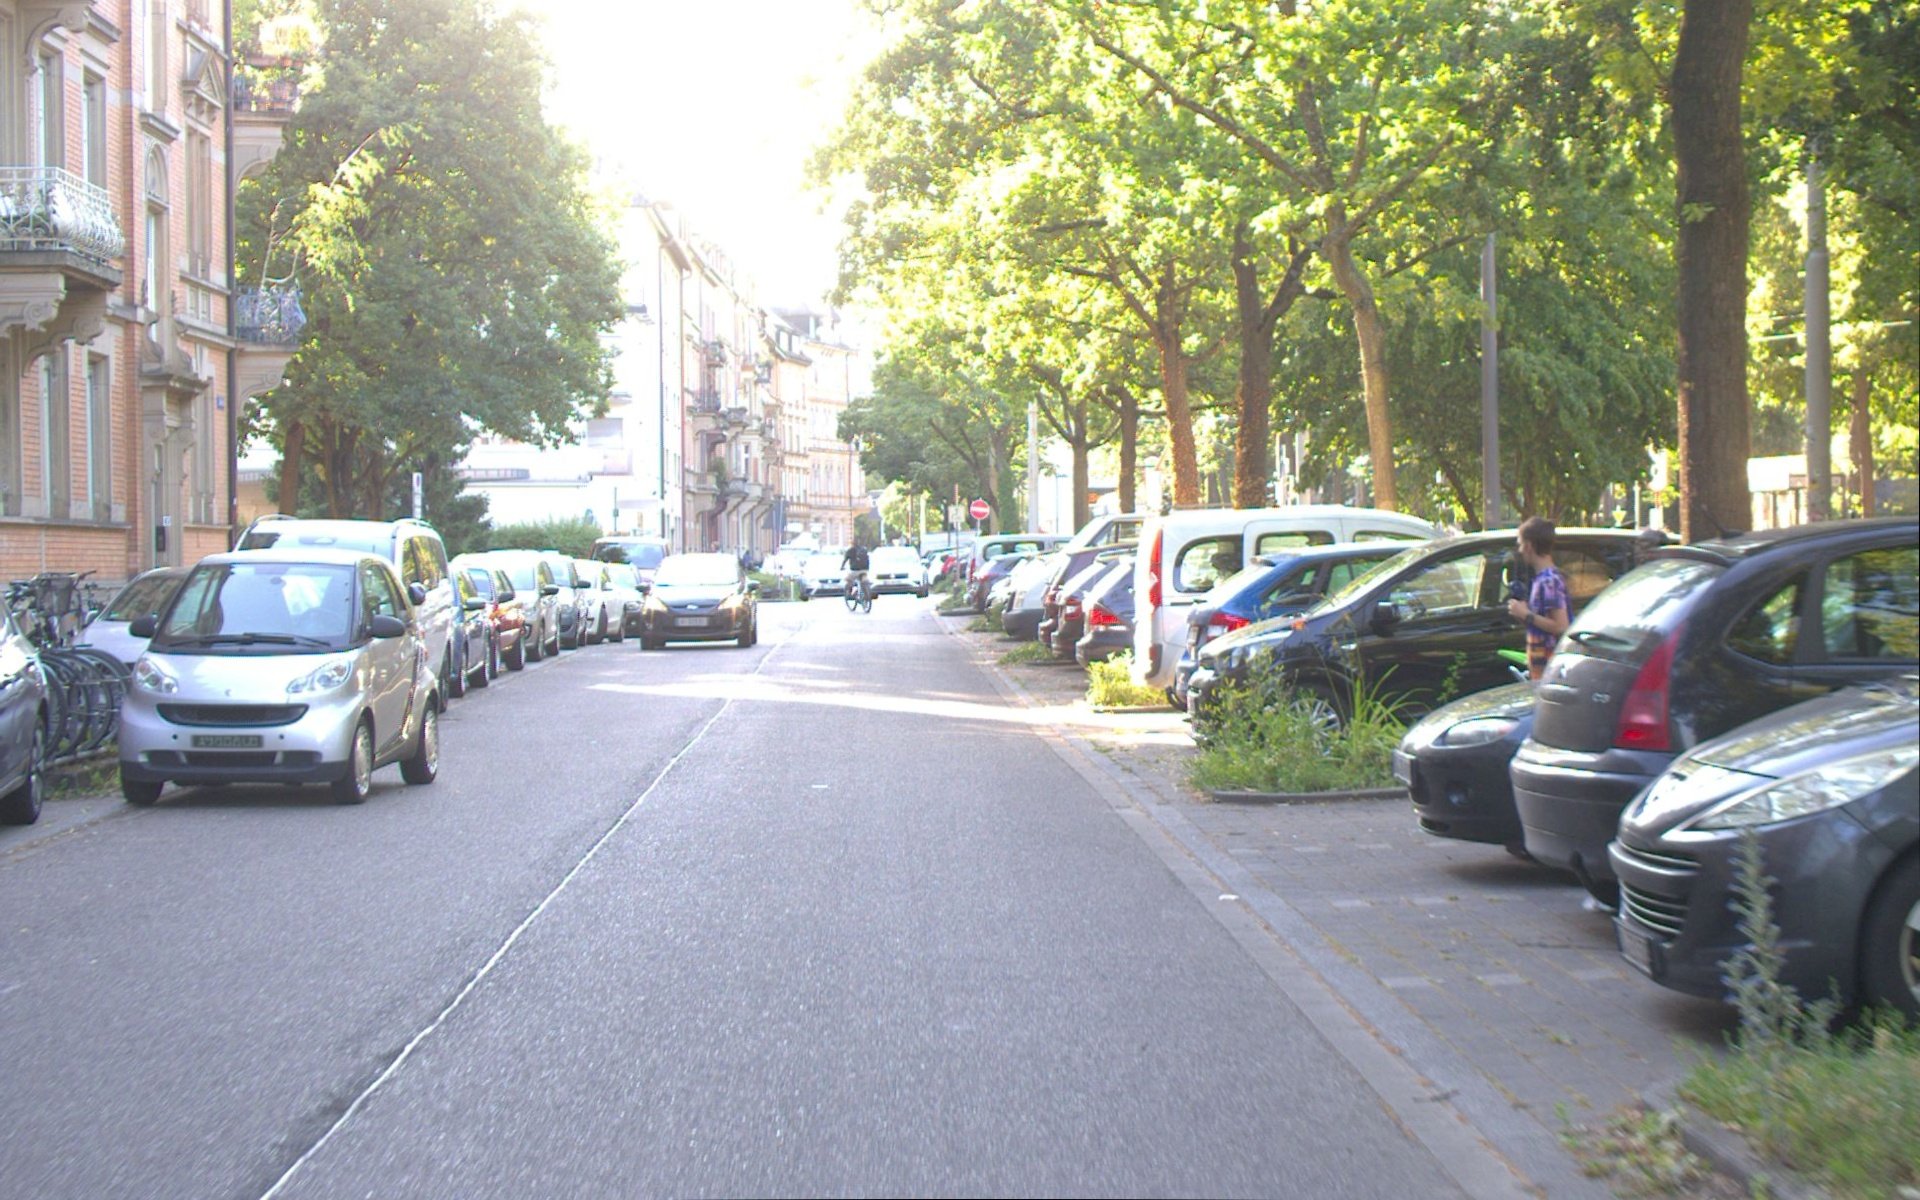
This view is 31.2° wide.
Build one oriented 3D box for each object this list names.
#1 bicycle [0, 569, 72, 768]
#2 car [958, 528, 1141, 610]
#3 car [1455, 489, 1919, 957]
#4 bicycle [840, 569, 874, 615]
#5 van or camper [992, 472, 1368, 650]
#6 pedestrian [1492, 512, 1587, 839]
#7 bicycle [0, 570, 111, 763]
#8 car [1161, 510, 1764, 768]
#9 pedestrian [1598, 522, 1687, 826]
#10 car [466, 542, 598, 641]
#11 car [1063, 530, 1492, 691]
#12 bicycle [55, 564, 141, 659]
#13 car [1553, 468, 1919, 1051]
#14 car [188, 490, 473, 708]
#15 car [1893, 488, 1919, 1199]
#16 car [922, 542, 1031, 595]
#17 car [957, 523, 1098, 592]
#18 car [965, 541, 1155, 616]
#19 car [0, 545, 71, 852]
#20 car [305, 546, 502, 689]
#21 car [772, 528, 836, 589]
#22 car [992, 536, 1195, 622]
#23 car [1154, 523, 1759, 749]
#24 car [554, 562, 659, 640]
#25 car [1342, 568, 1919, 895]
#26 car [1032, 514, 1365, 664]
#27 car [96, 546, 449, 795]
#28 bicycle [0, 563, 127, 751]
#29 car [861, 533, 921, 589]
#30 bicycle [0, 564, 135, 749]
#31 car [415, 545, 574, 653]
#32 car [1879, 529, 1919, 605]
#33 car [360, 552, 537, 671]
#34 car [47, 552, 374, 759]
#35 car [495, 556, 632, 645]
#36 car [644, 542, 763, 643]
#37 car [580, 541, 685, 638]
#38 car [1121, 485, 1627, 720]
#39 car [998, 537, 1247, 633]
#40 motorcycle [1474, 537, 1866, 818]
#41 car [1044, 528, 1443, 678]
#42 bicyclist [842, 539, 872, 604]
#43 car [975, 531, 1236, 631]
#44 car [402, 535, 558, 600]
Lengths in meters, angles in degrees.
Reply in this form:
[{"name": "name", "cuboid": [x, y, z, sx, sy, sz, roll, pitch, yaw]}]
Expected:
[{"name": "bicycle", "cuboid": [-6.497, 0.411, 20.935, 2.087, 1.211, 0.442, 1, -1, -16]}, {"name": "car", "cuboid": [2.017, -0.686, 78.013, 3.986, 1.788, 1.859, 0, -1, -4]}, {"name": "car", "cuboid": [4.271, 0.379, 12.986, 4.398, 1.585, 1.838, -2, 0, -6]}, {"name": "bicycle", "cuboid": [-2.521, -0.188, 83.700, 0.641, 1.096, 1.944, 1, -1, -7]}, {"name": "van or camper", "cuboid": [2.997, -0.513, 47.740, 4.981, 2.369, 2.185, 0, -1, -3]}, {"name": "pedestrian", "cuboid": [2.867, 0.362, 17.001, 0.380, 1.579, 0.518, 0, 3, 18]}, {"name": "bicycle", "cuboid": [-6.336, 0.420, 21.854, 1.763, 1.211, 0.441, 0, -1, -1]}, {"name": "car", "cuboid": [3.244, 0.235, 22.739, 3.674, 1.496, 1.762, -2, 1, 0]}, {"name": "pedestrian", "cuboid": [3.485, 0.367, 17.550, 0.380, 1.511, 0.518, 0, 3, 18]}, {"name": "car", "cuboid": [-6.835, -0.159, 55.197, 1.756, 1.510, 4.162, 0, 1, -2]}, {"name": "car", "cuboid": [3.214, 0.094, 35.213, 4.220, 1.448, 1.649, -2, 1, 3]}, {"name": "bicycle", "cuboid": [-10.645, 0.156, 42.512, 0.704, 1.143, 1.890, 0, -1, -4]}, {"name": "car", "cuboid": [4.171, 0.386, 10.383, 4.399, 1.585, 1.838, -2, 0, 0]}, {"name": "car", "cuboid": [-5.941, 0.025, 33.002, 1.993, 1.914, 5.040, 0, -1, -2]}, {"name": "car", "cuboid": [3.998, 0.533, 5.606, 4.399, 1.585, 1.838, -2, 0, -2]}, {"name": "car", "cuboid": [0.668, -1.242, 135.491, 3.989, 2.007, 1.999, 0, -1, 10]}, {"name": "car", "cuboid": [2.057, -1.274, 103.975, 3.989, 2.007, 1.999, 0, -1, 10]}, {"name": "car", "cuboid": [2.169, -0.460, 75.343, 3.986, 1.558, 1.859, 0, -1, -4]}, {"name": "car", "cuboid": [-5.753, 0.476, 17.722, 1.746, 1.541, 4.153, 1, 1, -7]}, {"name": "car", "cuboid": [-6.178, 0.155, 38.524, 1.669, 1.481, 4.000, 1, 1, -2]}, {"name": "car", "cuboid": [-4.974, -1.292, 109.733, 1.993, 1.832, 4.000, 0, -1, -2]}, {"name": "car", "cuboid": [2.710, -0.424, 70.380, 3.986, 1.694, 1.859, 0, -1, -4]}, {"name": "car", "cuboid": [3.590, 0.242, 25.303, 4.081, 1.437, 1.762, -2, 1, -3]}, {"name": "car", "cuboid": [-6.992, -0.003, 68.379, 1.756, 1.461, 4.268, 0, 1, -2]}, {"name": "car", "cuboid": [3.728, 0.522, 15.104, 3.842, 1.274, 1.691, -2, 1, -2]}, {"name": "car", "cuboid": [2.955, -0.146, 43.181, 3.987, 1.685, 1.859, -2, 1, 0]}, {"name": "car", "cuboid": [-4.291, 0.397, 21.798, 1.504, 1.430, 2.753, -2, 1, 3]}, {"name": "bicycle", "cuboid": [-6.365, 0.366, 22.369, 1.763, 1.211, 0.464, 0, -1, -1]}, {"name": "car", "cuboid": [-2.164, -1.218, 106.628, 1.778, 1.668, 4.487, 0, 1, -2]}, {"name": "bicycle", "cuboid": [-6.429, 0.373, 22.879, 1.763, 1.211, 0.428, 0, -1, -1]}, {"name": "car", "cuboid": [-6.618, -0.041, 49.187, 1.703, 1.424, 3.877, 2, 1, 0]}, {"name": "car", "cuboid": [23.356, -0.744, 77.845, 4.704, 1.678, 1.998, 0, -1, 22]}, {"name": "car", "cuboid": [-6.450, 0.106, 43.754, 1.670, 1.425, 4.241, 0, 1, -1]}, {"name": "car", "cuboid": [-5.860, 0.378, 27.339, 1.674, 1.449, 4.210, -2, 1, 0]}, {"name": "car", "cuboid": [-6.844, -0.023, 59.720, 1.756, 1.461, 4.268, 0, 1, 2]}, {"name": "car", "cuboid": [-3.967, -0.144, 53.637, 1.668, 1.459, 4.000, -2, 1, -2]}, {"name": "car", "cuboid": [-7.007, -0.244, 73.912, 1.957, 2.011, 4.268, 0, 1, -2]}, {"name": "car", "cuboid": [3.622, 0.010, 30.588, 4.220, 1.857, 1.762, -2, 1, 0]}, {"name": "car", "cuboid": [2.701, -0.237, 57.735, 3.986, 1.543, 1.859, 0, -1, -4]}, {"name": "motorcycle", "cuboid": [3.808, 0.414, 18.623, 1.860, 1.457, 1.264, 0, -1, 0]}, {"name": "car", "cuboid": [3.091, 0.016, 38.107, 4.220, 1.448, 1.865, -2, 1, 0]}, {"name": "bicyclist", "cuboid": [-2.508, -0.683, 83.698, 0.627, 1.568, 0.802, 1, -1, -7]}, {"name": "car", "cuboid": [2.529, -0.317, 60.349, 4.389, 1.694, 1.859, 0, -1, -4]}, {"name": "car", "cuboid": [-13.134, -0.882, 94.228, 3.987, 1.700, 2.000, 0, -1, 0]}]
